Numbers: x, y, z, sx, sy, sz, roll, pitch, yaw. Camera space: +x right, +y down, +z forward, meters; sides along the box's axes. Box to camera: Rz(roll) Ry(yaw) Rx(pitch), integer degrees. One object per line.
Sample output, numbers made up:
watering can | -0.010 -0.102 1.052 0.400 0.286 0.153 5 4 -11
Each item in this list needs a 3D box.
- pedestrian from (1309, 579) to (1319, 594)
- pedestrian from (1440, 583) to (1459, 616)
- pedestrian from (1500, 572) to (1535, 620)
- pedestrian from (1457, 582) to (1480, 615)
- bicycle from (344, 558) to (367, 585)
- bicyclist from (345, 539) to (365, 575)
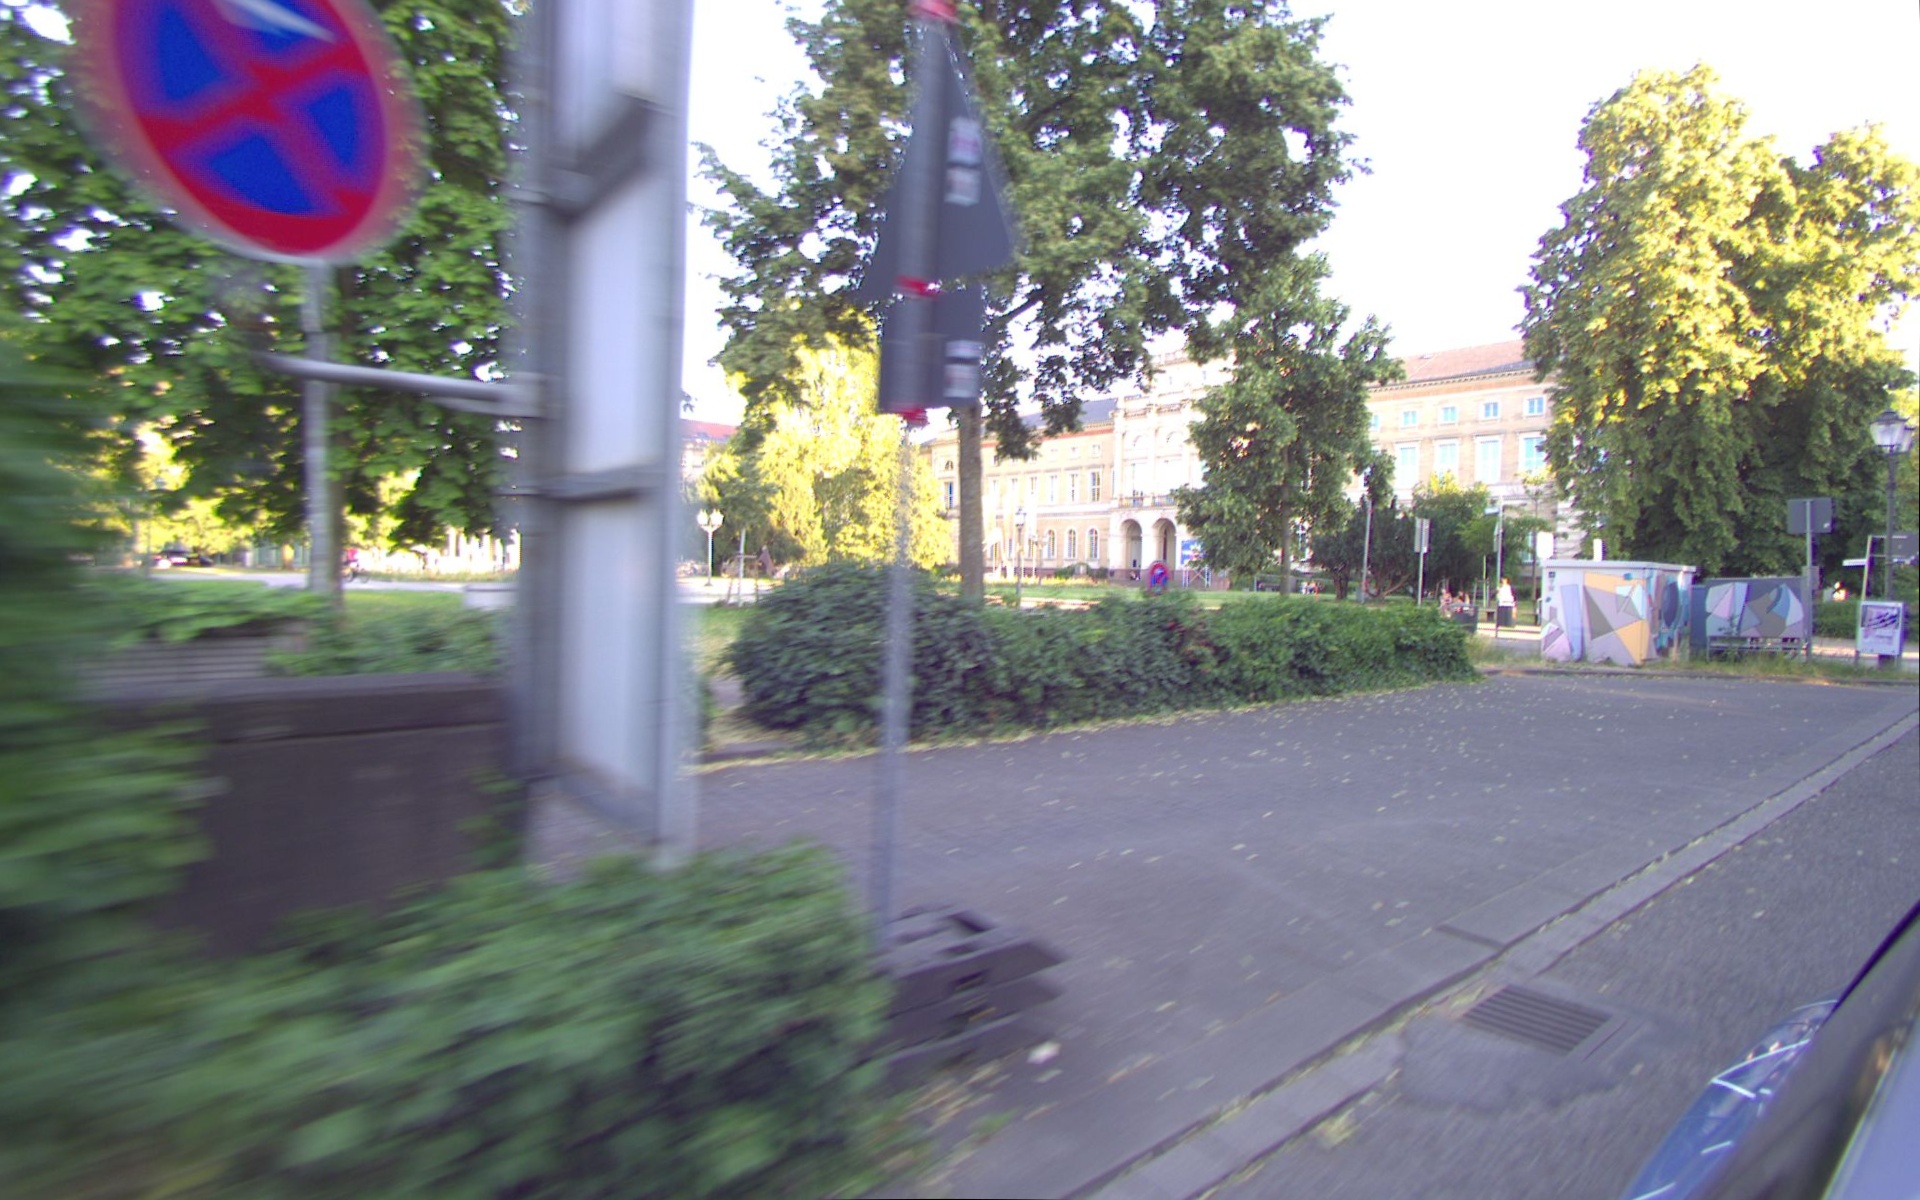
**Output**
pedestrian | 29.609 -1.121 84.651 0.499 1.304 0.583 2 1 44
pedestrian | 18.576 -0.028 38.396 0.499 1.229 0.583 2 1 44
pedestrian | 19.335 -0.143 35.112 0.745 1.646 0.857 0 2 -45
pedestrian | 19.025 -0.063 37.865 0.606 1.229 0.656 2 1 44
bicycle | -27.858 -1.319 46.605 0.556 1.191 1.772 0 2 -43
bicyclist | -27.851 -1.966 46.599 0.648 1.652 0.676 0 2 -43
